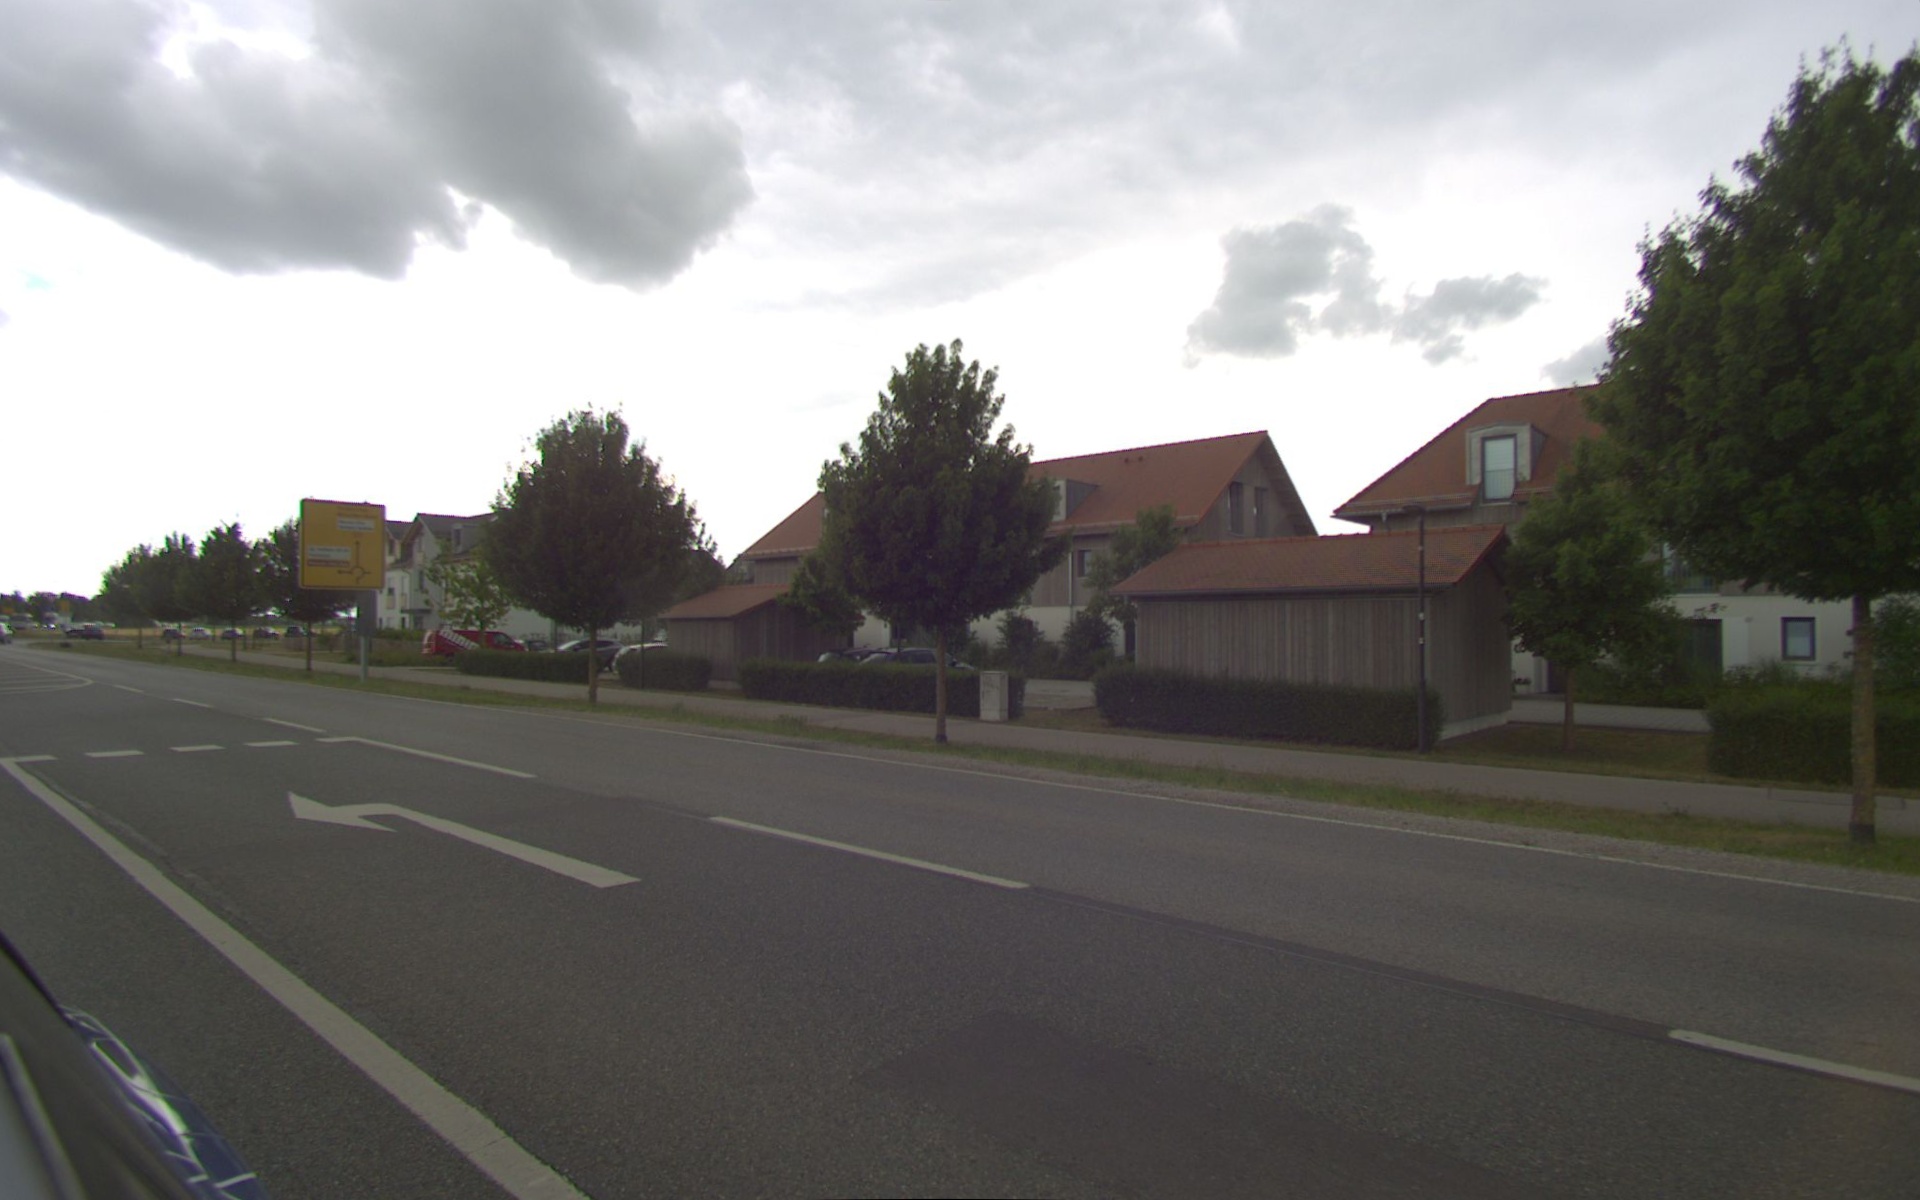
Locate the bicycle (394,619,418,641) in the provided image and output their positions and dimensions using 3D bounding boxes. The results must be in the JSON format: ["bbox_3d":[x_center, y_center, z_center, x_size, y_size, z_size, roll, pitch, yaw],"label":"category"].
[{"bbox_3d":[-37.270,2.045,68.021,2.093,1.439,0.675,-2,-4,41],"label":"bicycle"}]

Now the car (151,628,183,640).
[{"bbox_3d":[-91.539,3.918,116.839,1.965,1.298,4.013,2,-3,-24],"label":"car"}]

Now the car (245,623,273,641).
[{"bbox_3d":[-83.136,3.838,120.148,1.965,2.029,4.013,2,-3,-24],"label":"car"}]

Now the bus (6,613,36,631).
[{"bbox_3d":[-180.590,4.223,194.653,6.471,3.305,2.957,-1,-4,36],"label":"bus"}]

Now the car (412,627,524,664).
[{"bbox_3d":[-25.658,2.405,52.920,4.848,1.830,1.907,4,-4,-44],"label":"car"}]

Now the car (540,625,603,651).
[{"bbox_3d":[-23.905,2.328,62.197,3.998,1.519,1.973,-2,-4,41],"label":"car"}]

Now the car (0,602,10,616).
[{"bbox_3d":[-104.486,0.981,109.752,3.998,1.455,1.752,-2,-4,41],"label":"car"}]

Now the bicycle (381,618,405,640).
[{"bbox_3d":[-37.762,1.962,67.425,2.093,1.428,0.675,-2,-4,41],"label":"bicycle"}]

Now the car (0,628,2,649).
[{"bbox_3d":[-67.988,2.668,70.264,3.998,1.455,1.752,-2,-4,41],"label":"car"}]

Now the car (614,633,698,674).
[{"bbox_3d":[-16.283,2.815,54.130,5.201,2.029,1.971,-2,0,44],"label":"car"}]

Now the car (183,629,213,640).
[{"bbox_3d":[-88.724,4.026,117.858,1.965,1.298,4.013,2,-3,-24],"label":"car"}]

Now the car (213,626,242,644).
[{"bbox_3d":[-86.284,4.146,119.249,1.965,2.029,4.013,2,-3,-24],"label":"car"}]

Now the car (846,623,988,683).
[{"bbox_3d":[-1.205,1.576,29.876,2.000,1.630,3.944,-2,-4,42],"label":"car"}]

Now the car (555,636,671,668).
[{"bbox_3d":[-16.406,2.482,48.059,1.905,1.441,4.853,-2,-4,42],"label":"car"}]

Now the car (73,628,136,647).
[{"bbox_3d":[-80.005,3.508,94.672,1.831,1.594,4.157,-2,-5,41],"label":"car"}]

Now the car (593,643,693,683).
[{"bbox_3d":[-12.635,2.504,40.453,1.562,1.501,3.478,-2,-4,40],"label":"car"}]

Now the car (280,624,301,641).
[{"bbox_3d":[-80.195,3.930,121.229,1.966,2.029,4.010,3,-4,-34],"label":"car"}]

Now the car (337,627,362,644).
[{"bbox_3d":[-75.995,4.431,126.080,1.965,2.029,4.013,2,-3,-21],"label":"car"}]
